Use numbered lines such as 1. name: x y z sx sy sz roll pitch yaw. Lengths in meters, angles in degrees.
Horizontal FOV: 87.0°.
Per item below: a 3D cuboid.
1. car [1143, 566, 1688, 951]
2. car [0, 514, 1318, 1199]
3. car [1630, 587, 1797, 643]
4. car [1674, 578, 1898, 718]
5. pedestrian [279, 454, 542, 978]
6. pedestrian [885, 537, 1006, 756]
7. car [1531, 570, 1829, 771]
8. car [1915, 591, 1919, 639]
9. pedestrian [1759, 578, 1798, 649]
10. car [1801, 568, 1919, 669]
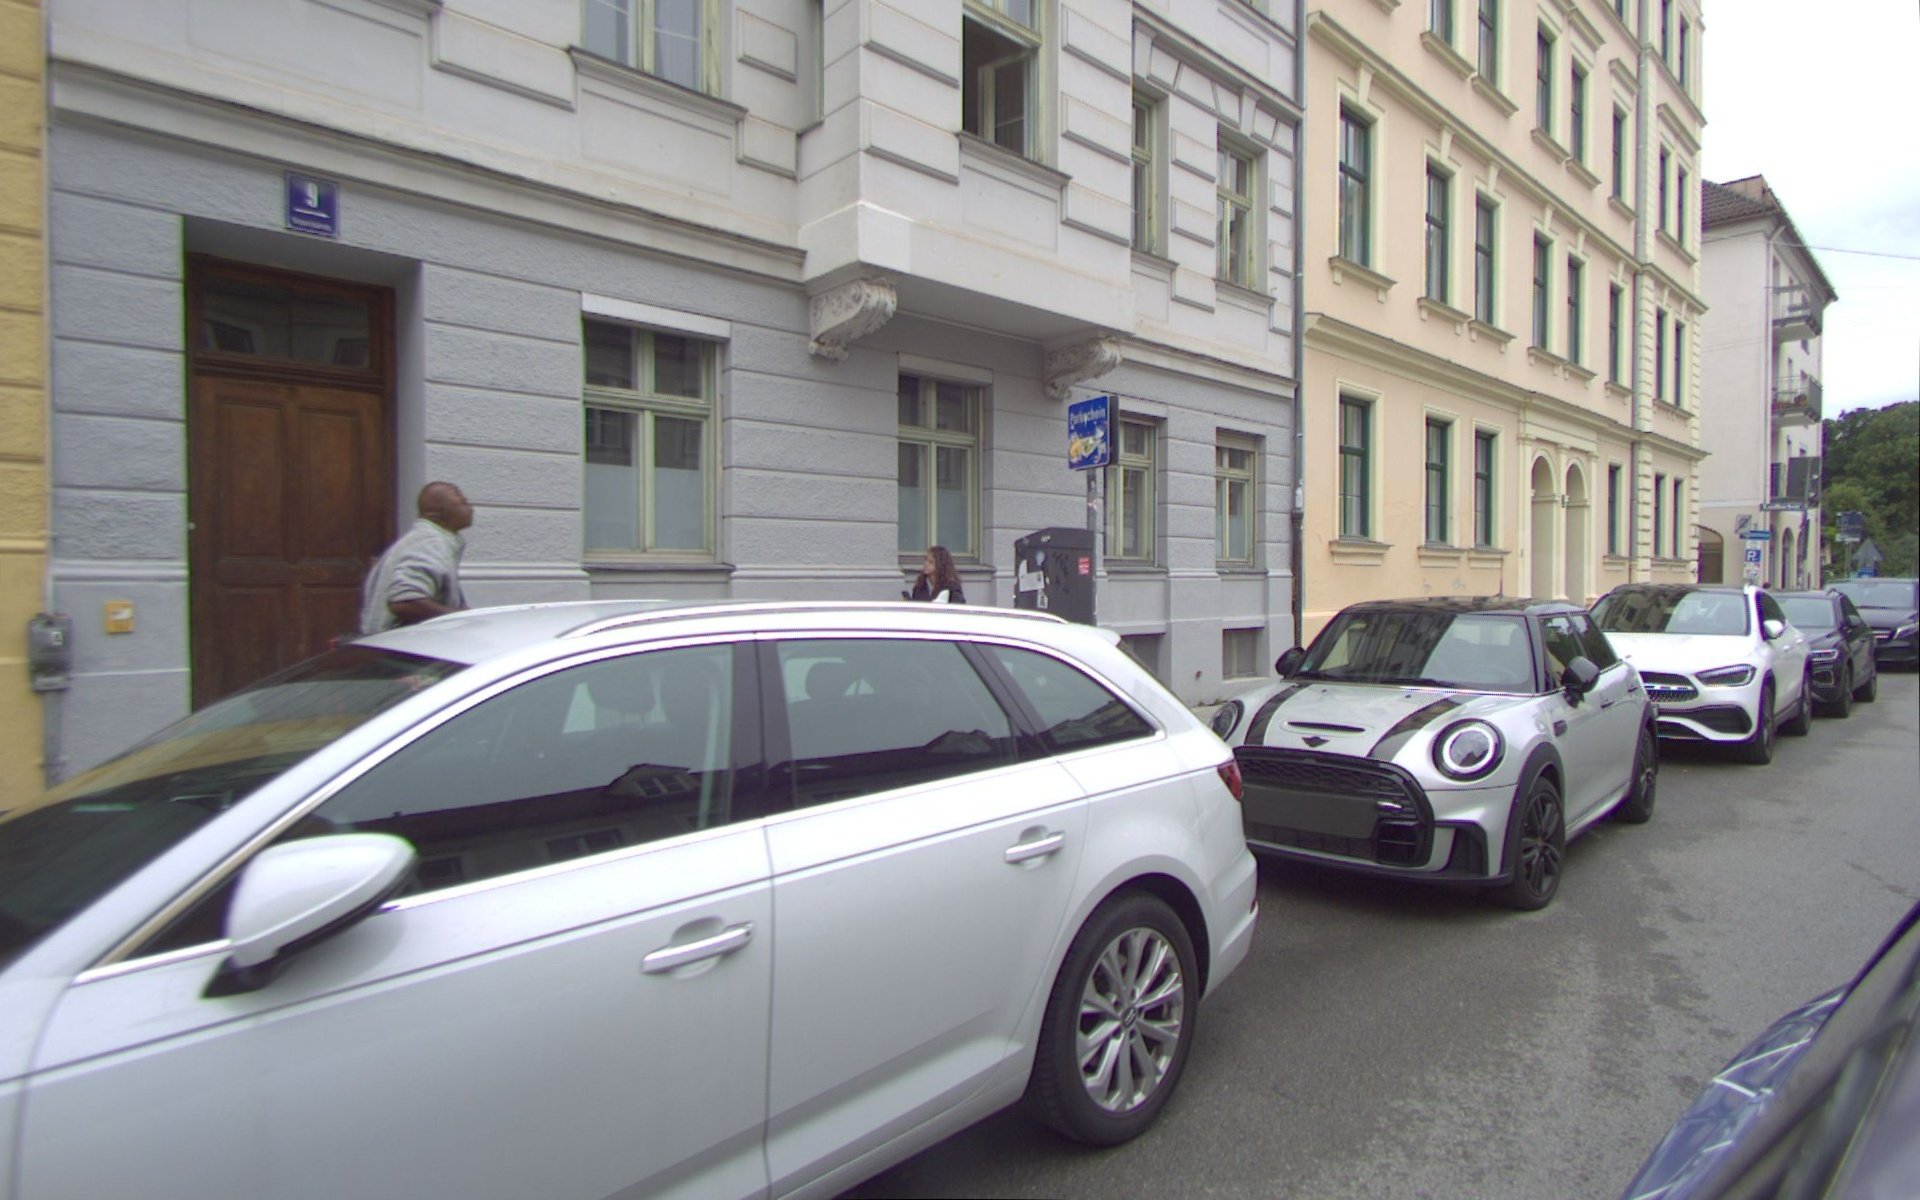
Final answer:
1. car: 2.911 0.597 6.012 1.718 1.528 3.873 1 1 45
2. car: -1.039 0.642 2.407 4.393 1.528 1.719 -1 1 -43
3. car: 23.530 0.417 31.695 1.684 1.585 3.989 0 1 -45
4. car: 11.139 0.521 13.550 4.072 1.586 1.719 0 1 -42
5. pedestrian: -2.260 0.411 4.168 0.792 1.886 0.702 0 0 -44
6. pedestrian: -0.119 0.325 7.836 0.614 1.594 0.646 0 3 -42
7. car: 7.428 0.539 10.267 4.252 1.621 1.718 -1 1 -44
8. car: 32.431 0.480 32.929 3.933 1.518 1.709 -1 1 -43
9. pedestrian: 21.419 0.331 26.486 0.718 1.825 0.697 0 1 -43
10. car: 19.326 0.309 21.089 5.025 1.884 1.997 0 1 -41
